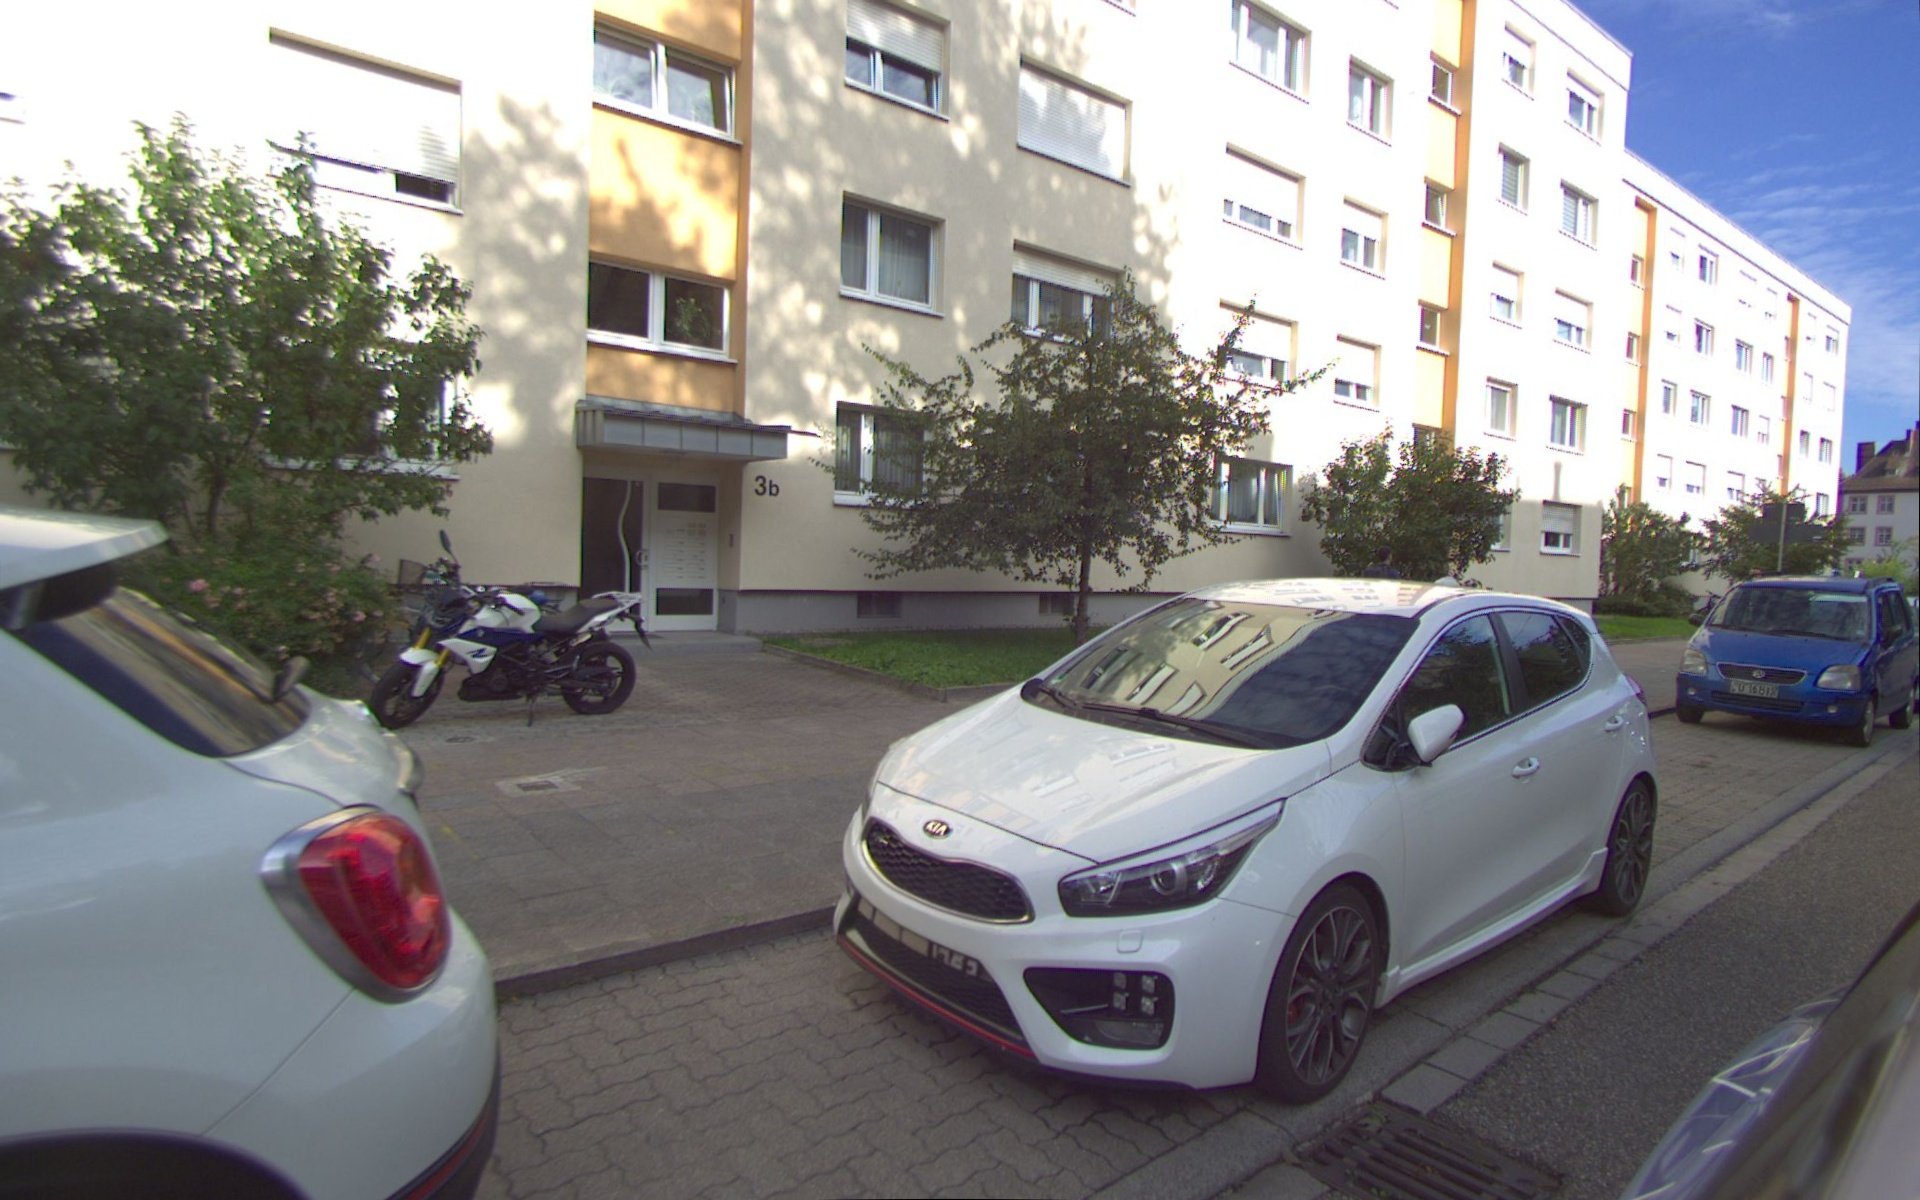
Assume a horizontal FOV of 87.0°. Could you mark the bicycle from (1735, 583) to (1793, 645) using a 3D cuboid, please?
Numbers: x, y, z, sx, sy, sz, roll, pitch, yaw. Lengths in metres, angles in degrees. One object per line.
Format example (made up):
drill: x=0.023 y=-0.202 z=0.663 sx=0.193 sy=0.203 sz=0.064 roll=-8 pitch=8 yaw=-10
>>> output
bicycle: x=15.796 y=0.260 z=19.874 sx=1.896 sy=1.149 sz=0.524 roll=0 pitch=2 yaw=-41

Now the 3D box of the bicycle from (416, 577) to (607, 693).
bicycle: x=-4.000 y=0.287 z=9.086 sx=1.490 sy=0.938 sz=0.459 roll=0 pitch=3 yaw=-42

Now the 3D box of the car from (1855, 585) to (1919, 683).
car: x=17.019 y=0.550 z=17.631 sx=4.121 sy=1.533 sz=1.731 roll=-1 pitch=4 yaw=-44

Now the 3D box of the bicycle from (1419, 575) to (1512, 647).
bicycle: x=10.064 y=0.188 z=20.098 sx=2.589 sy=1.306 sz=0.597 roll=0 pitch=5 yaw=-40

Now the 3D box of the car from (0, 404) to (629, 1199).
car: x=-2.610 y=0.539 z=0.898 sx=4.047 sy=1.599 sz=1.732 roll=-1 pitch=4 yaw=-42

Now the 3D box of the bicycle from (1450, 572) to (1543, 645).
bicycle: x=10.432 y=0.147 z=19.618 sx=2.589 sy=1.306 sz=0.605 roll=0 pitch=4 yaw=-40

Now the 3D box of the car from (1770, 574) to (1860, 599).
car: x=56.011 y=-0.905 z=66.351 sx=1.833 sy=1.500 sz=4.096 roll=0 pitch=2 yaw=-31

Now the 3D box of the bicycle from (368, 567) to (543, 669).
bicycle: x=-5.013 y=0.163 z=10.116 sx=1.490 sy=0.938 sz=0.459 roll=0 pitch=3 yaw=-42

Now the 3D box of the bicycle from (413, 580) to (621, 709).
bicycle: x=-3.611 y=0.332 z=8.321 sx=1.490 sy=0.953 sz=0.459 roll=0 pitch=3 yaw=-42

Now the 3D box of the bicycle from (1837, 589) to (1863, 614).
bicycle: x=38.152 y=0.065 z=43.371 sx=1.663 sy=1.010 sz=0.597 roll=-2 pitch=3 yaw=-41

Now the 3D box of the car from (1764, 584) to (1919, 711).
car: x=12.873 y=0.566 z=14.213 sx=4.045 sy=1.478 sz=1.732 roll=0 pitch=4 yaw=-41

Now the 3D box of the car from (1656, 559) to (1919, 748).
car: x=9.526 y=0.463 z=11.260 sx=4.041 sy=1.669 sz=1.734 roll=0 pitch=4 yaw=-38

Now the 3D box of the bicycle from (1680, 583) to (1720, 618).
bicycle: x=23.813 y=0.001 z=32.547 sx=2.059 sy=1.042 sz=0.503 roll=-1 pitch=5 yaw=-41

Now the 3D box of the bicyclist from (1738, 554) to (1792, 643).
bicyclist: x=15.803 y=-0.040 z=19.872 sx=0.877 sy=1.698 sz=0.624 roll=0 pitch=2 yaw=-41

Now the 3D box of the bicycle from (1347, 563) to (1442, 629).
bicycle: x=9.101 y=-0.095 z=21.155 sx=2.589 sy=1.307 sz=0.728 roll=0 pitch=2 yaw=-40

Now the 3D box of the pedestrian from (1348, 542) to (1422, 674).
pedestrian: x=5.779 y=0.099 z=13.769 sx=0.756 sy=1.742 sz=0.544 roll=1 pitch=2 yaw=-35

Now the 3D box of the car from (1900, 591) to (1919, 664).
car: x=21.051 y=0.580 z=21.023 sx=3.987 sy=1.433 sz=1.666 roll=0 pitch=4 yaw=-40

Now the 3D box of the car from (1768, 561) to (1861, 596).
car: x=58.038 y=-1.485 z=68.788 sx=2.320 sy=2.219 sz=4.286 roll=0 pitch=2 yaw=-32

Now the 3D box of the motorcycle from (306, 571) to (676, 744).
motorcycle: x=-3.319 y=0.352 z=7.366 sx=2.352 sy=1.057 sz=0.632 roll=0 pitch=4 yaw=-42

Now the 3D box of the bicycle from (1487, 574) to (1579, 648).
bicycle: x=10.868 y=0.187 z=19.145 sx=2.589 sy=1.307 sz=0.605 roll=0 pitch=3 yaw=-40

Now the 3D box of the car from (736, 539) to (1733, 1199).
car: x=1.535 y=0.586 z=4.316 sx=4.558 sy=1.505 sz=1.733 roll=0 pitch=4 yaw=-39
